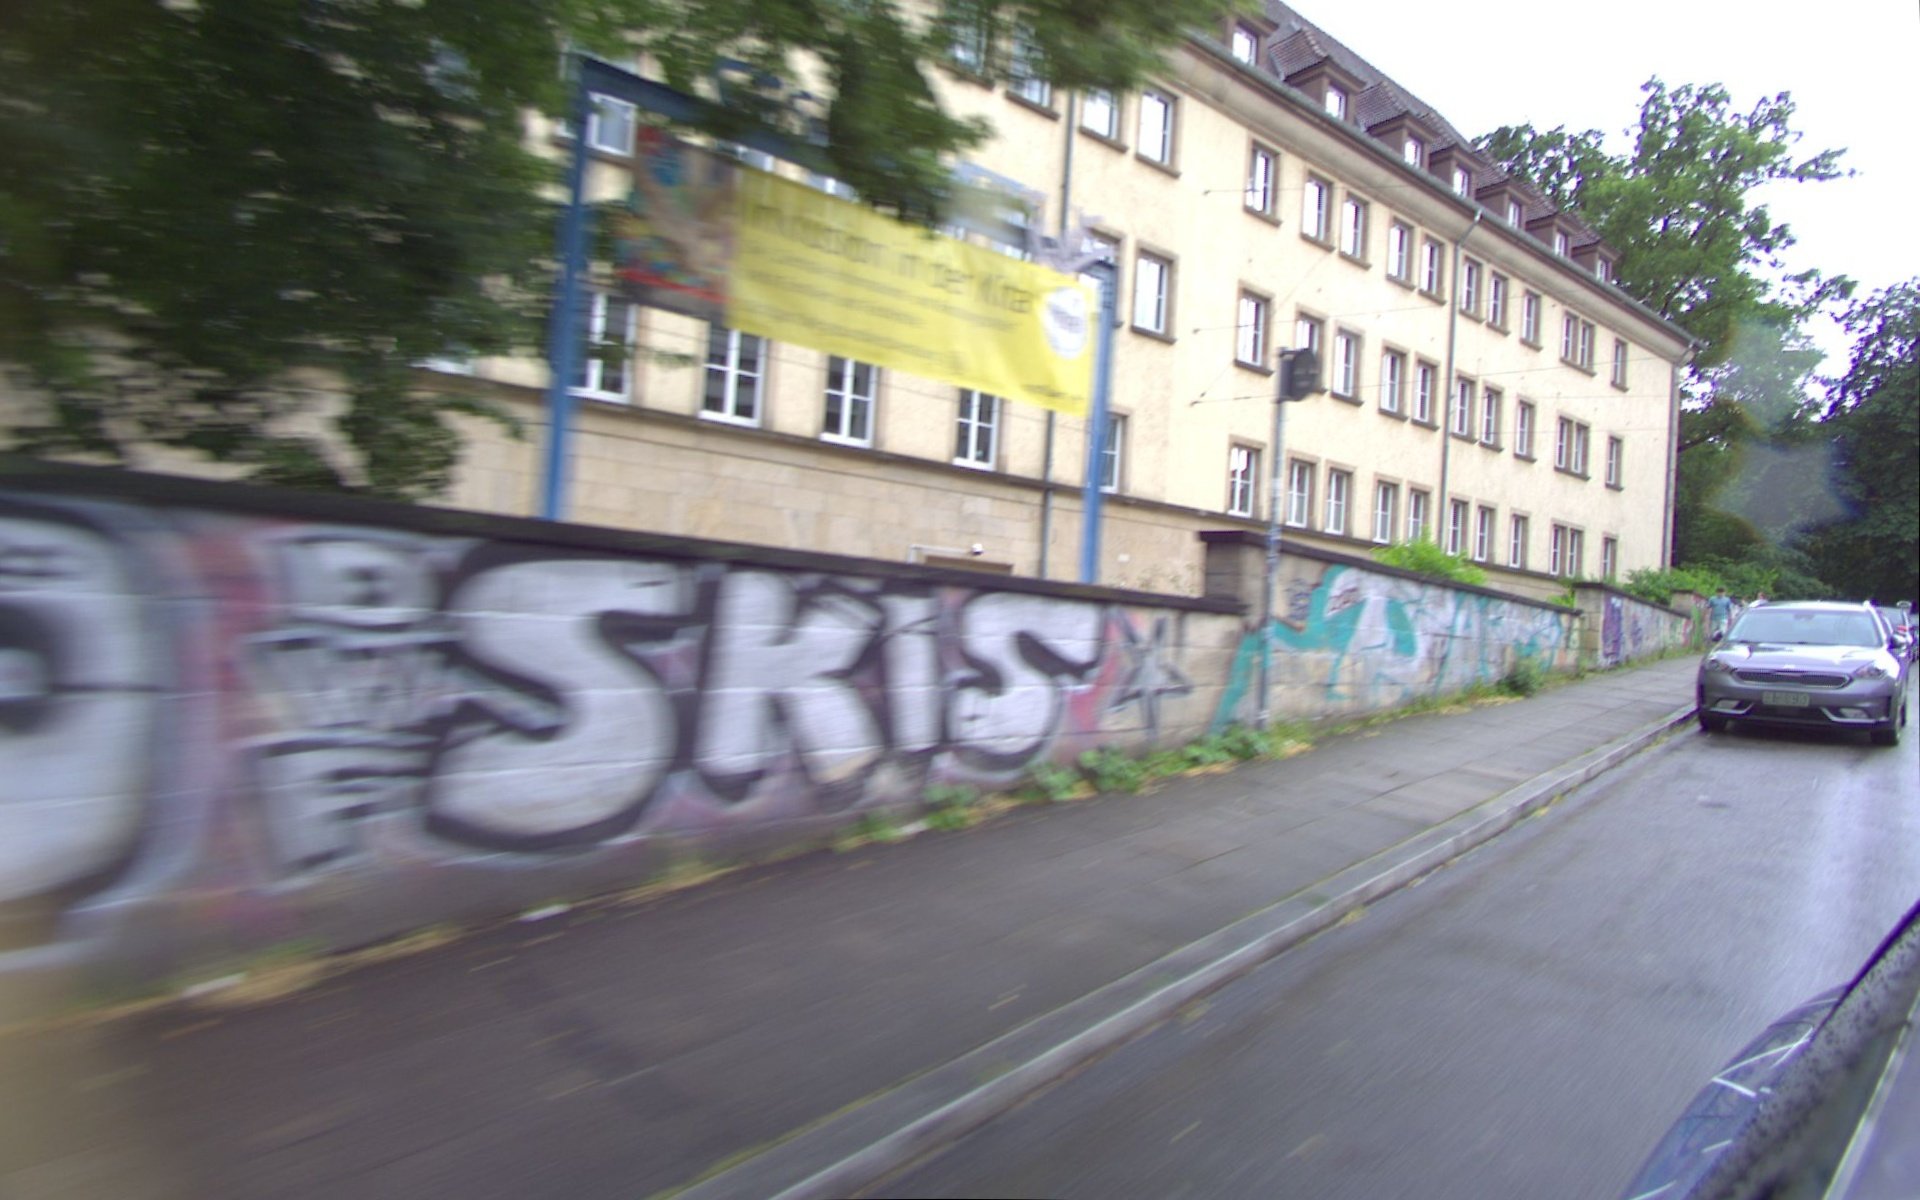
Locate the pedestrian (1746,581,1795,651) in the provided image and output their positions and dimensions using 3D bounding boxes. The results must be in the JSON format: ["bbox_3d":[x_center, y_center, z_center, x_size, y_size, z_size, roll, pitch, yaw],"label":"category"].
[{"bbox_3d":[21.096,0.413,26.349,0.725,1.776,0.720,2,2,-34],"label":"pedestrian"}]

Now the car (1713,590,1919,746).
[{"bbox_3d":[10.507,0.696,12.293,1.666,1.543,4.043,2,1,44],"label":"car"}]

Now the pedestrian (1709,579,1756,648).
[{"bbox_3d":[20.608,0.357,27.014,0.725,1.776,0.720,2,2,-34],"label":"pedestrian"}]

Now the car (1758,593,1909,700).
[{"bbox_3d":[14.816,0.707,17.094,1.666,1.494,4.043,5,3,44],"label":"car"}]

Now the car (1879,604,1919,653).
[{"bbox_3d":[30.657,0.926,32.136,3.577,1.434,1.541,1,3,-38],"label":"car"}]

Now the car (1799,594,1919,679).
[{"bbox_3d":[18.814,0.700,20.934,4.382,1.494,1.668,1,3,-44],"label":"car"}]

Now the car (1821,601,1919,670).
[{"bbox_3d":[22.392,0.820,24.907,1.665,1.495,4.003,2,1,42],"label":"car"}]

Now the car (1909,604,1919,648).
[{"bbox_3d":[33.939,0.966,34.277,2.663,1.483,1.607,2,2,-23],"label":"car"}]

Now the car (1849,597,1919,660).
[{"bbox_3d":[26.482,0.772,28.584,3.792,1.592,1.668,1,3,-44],"label":"car"}]
